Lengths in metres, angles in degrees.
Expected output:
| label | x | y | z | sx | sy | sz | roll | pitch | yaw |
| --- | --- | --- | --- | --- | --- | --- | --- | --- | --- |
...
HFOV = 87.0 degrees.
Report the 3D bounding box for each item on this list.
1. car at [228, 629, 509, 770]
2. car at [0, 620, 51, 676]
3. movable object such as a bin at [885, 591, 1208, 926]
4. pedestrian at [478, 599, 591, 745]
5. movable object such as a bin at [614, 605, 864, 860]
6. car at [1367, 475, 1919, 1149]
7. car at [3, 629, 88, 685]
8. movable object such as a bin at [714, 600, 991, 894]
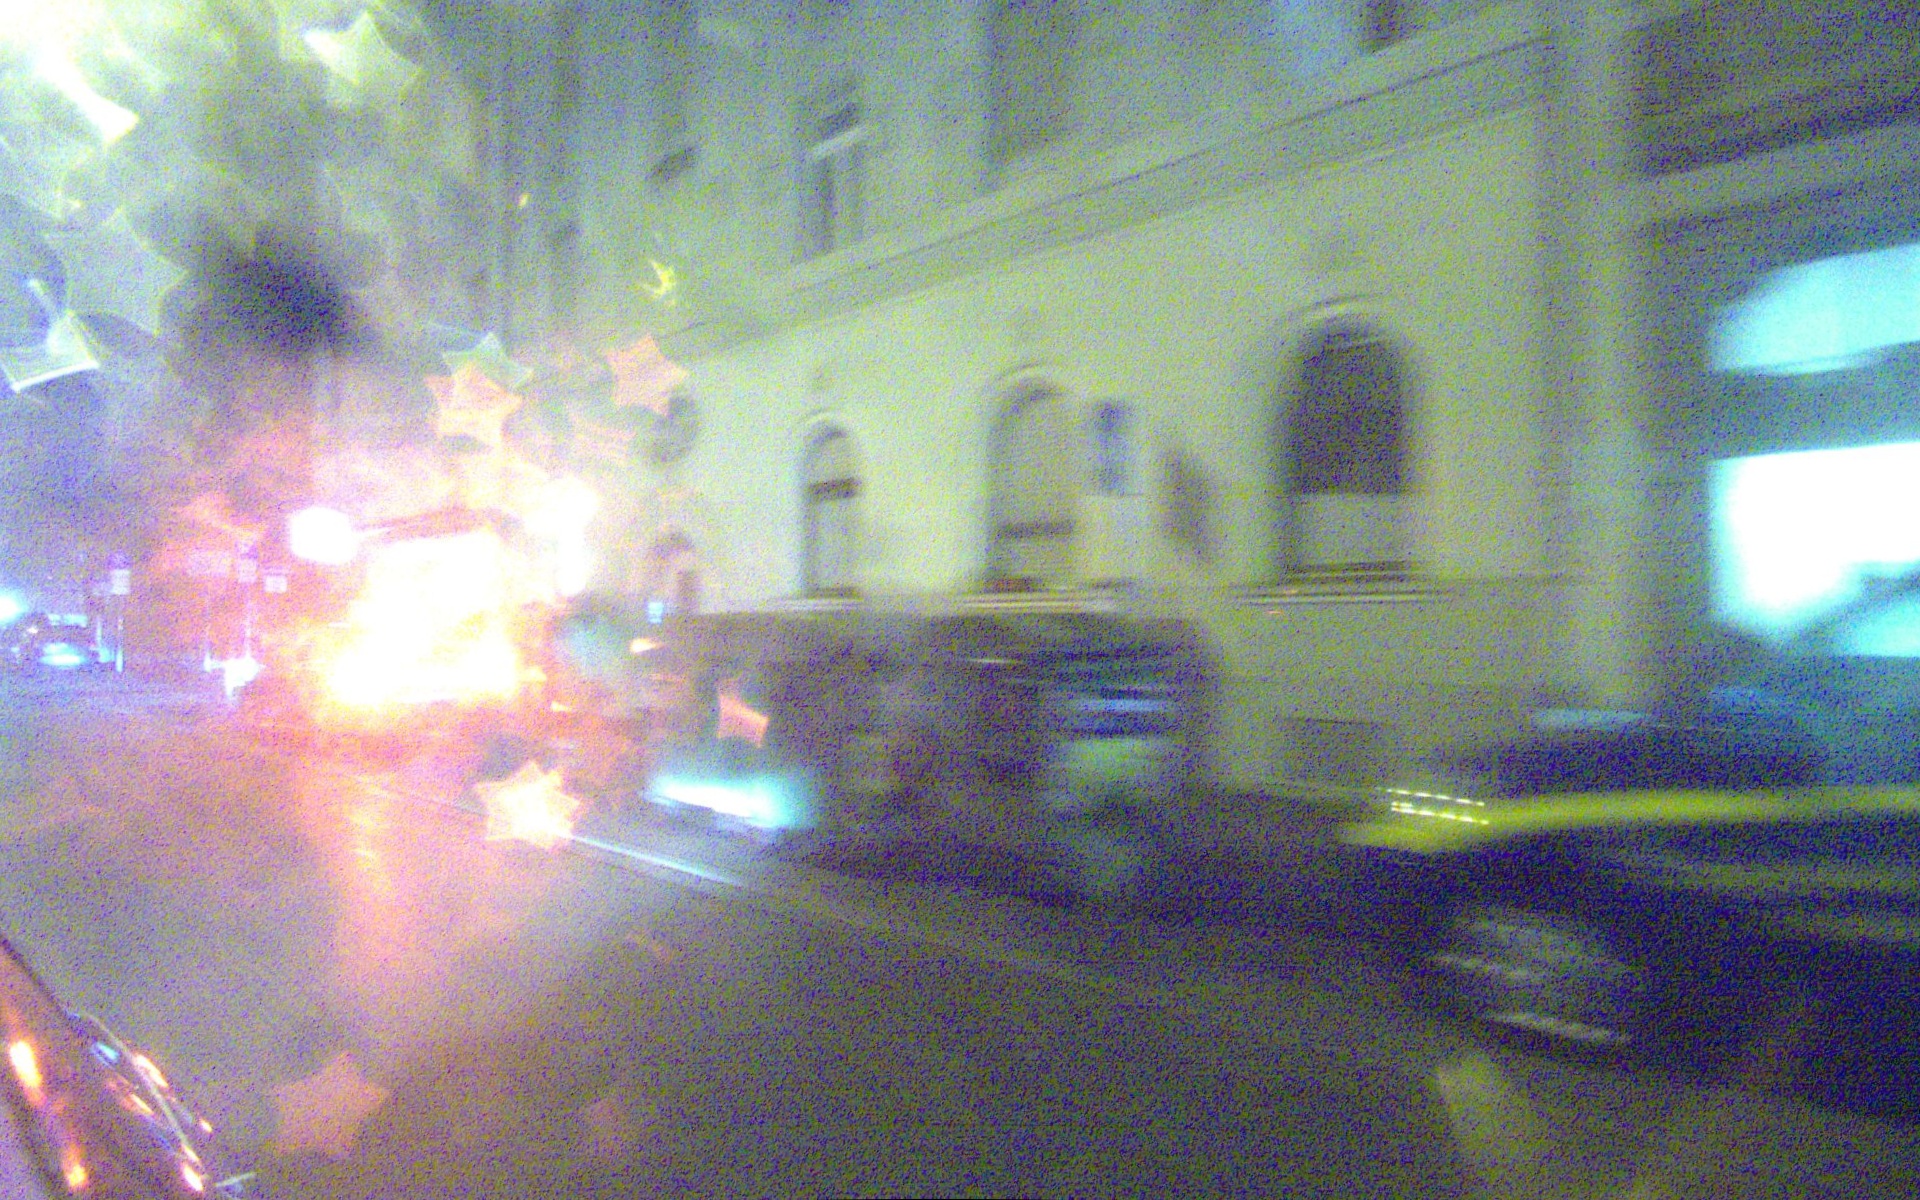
| label | x | y | z | sx | sy | sz | roll | pitch | yaw |
| --- | --- | --- | --- | --- | --- | --- | --- | --- | --- |
| car | -7.147 | 1.045 | 12.044 | 4.220 | 1.369 | 1.637 | -2 | -1 | 41 |
| car | -33.534 | 1.643 | 35.550 | 4.825 | 1.860 | 1.847 | -2 | -2 | 42 |
| movable object such as a bin | 0.466 | 0.706 | 5.330 | 1.151 | 1.470 | 1.248 | -1 | 0 | 43 |
| pedestrian | -5.538 | 0.901 | 13.190 | 0.787 | 1.796 | 1.120 | -2 | -2 | 41 |
| movable object such as a bin | -1.469 | 0.790 | 6.762 | 1.107 | 1.470 | 1.195 | -1 | 0 | 43 |
| car | 3.332 | 0.533 | 2.871 | 3.719 | 1.719 | 1.587 | -2 | -1 | 41 |
| car | -26.571 | 1.614 | 29.367 | 3.563 | 1.453 | 1.529 | -2 | 0 | 43 |
| movable object such as a bin | -0.627 | 0.754 | 5.938 | 1.107 | 1.470 | 1.152 | -1 | 0 | 43 |
